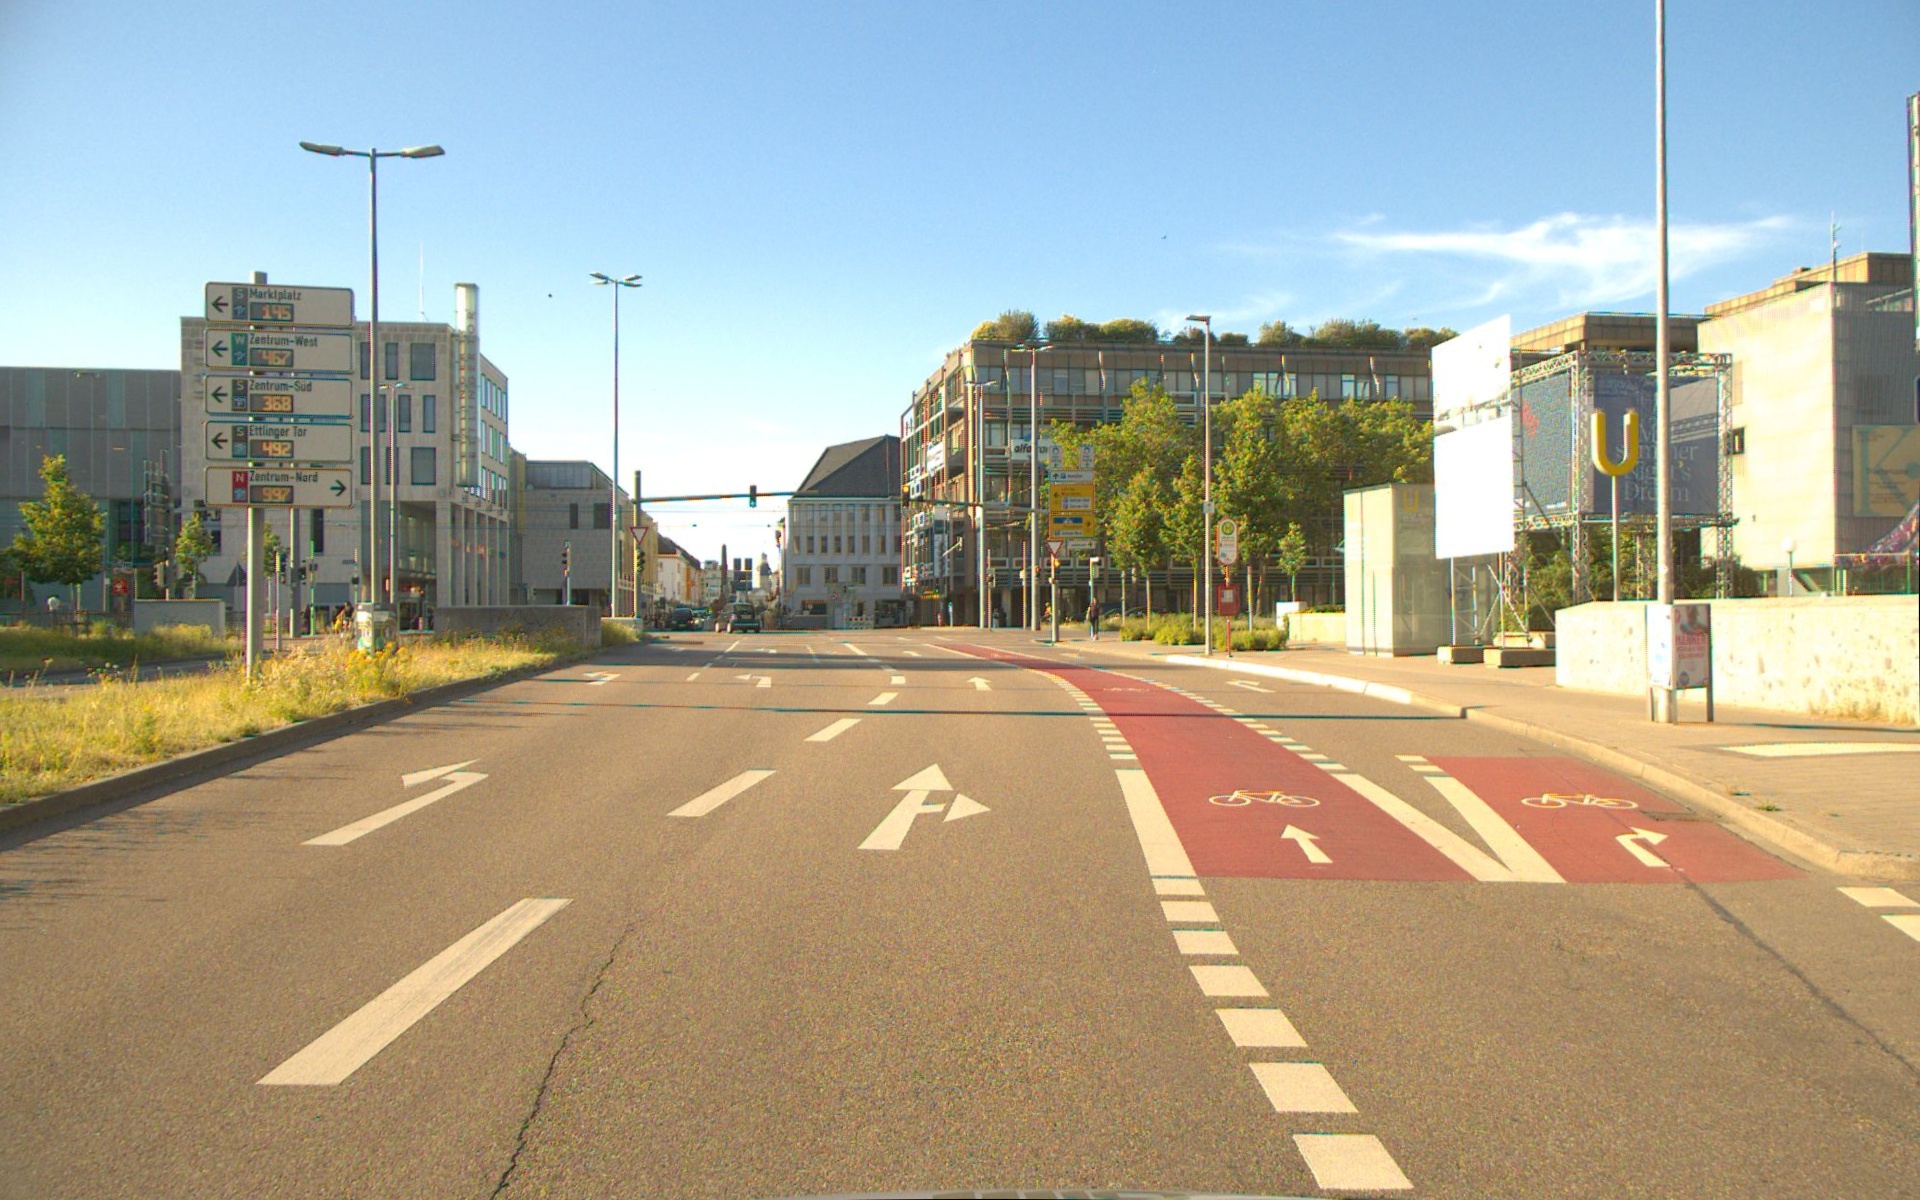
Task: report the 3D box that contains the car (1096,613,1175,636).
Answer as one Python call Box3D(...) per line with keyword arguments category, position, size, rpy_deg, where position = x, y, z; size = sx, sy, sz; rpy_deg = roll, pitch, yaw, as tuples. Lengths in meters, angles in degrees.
Box3D(category="car", position=(11.005, 1.536, 103.791), size=(4.546, 1.380, 1.996), rpy_deg=(0, 1, -10))

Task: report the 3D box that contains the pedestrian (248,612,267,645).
Box3D(category="pedestrian", position=(-32.795, 1.321, 77.201), size=(0.710, 1.528, 0.800), rpy_deg=(0, -1, -15))

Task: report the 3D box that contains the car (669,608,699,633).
Box3D(category="car", position=(-20.871, 1.509, 124.996), size=(1.955, 1.773, 4.640), rpy_deg=(0, 1, -6))

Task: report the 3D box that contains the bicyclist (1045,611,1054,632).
Box3D(category="bicyclist", position=(5.621, 1.359, 104.195), size=(0.498, 1.362, 0.452), rpy_deg=(0, -1, -3))

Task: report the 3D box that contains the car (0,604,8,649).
Box3D(category="car", position=(-41.494, 1.111, 67.174), size=(4.561, 1.842, 1.865), rpy_deg=(-1, -2, -14))

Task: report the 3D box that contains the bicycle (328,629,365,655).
Box3D(category="bicycle", position=(-22.051, 1.498, 59.481), size=(0.599, 0.877, 1.950), rpy_deg=(0, 0, -1))

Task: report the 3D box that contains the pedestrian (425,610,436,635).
Box3D(category="pedestrian", position=(-35.620, 1.520, 111.324), size=(0.611, 1.636, 0.652), rpy_deg=(0, -1, -7))

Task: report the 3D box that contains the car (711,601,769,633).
Box3D(category="car", position=(-11.227, 0.862, 84.219), size=(1.756, 1.591, 3.754), rpy_deg=(0, 0, -28))

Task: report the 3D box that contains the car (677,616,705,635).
Box3D(category="car", position=(-21.960, 2.073, 135.092), size=(1.955, 1.380, 4.640), rpy_deg=(0, 1, -6))

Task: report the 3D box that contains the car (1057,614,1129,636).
Box3D(category="car", position=(8.931, 1.692, 111.241), size=(4.546, 1.380, 1.996), rpy_deg=(0, 1, -10))

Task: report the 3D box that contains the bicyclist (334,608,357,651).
Box3D(category="bicyclist", position=(-22.040, 1.045, 59.333), size=(0.595, 1.515, 0.681), rpy_deg=(0, -1, -1))

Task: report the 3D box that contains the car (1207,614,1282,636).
Box3D(category="car", position=(18.875, 1.662, 109.976), size=(4.546, 1.380, 1.996), rpy_deg=(0, 1, -10))

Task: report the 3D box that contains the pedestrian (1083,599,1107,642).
Box3D(category="pedestrian", position=(5.667, 0.854, 69.337), size=(0.804, 1.779, 1.042), rpy_deg=(-2, -1, 16))

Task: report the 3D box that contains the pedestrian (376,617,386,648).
Box3D(category="pedestrian", position=(-39.124, 2.193, 111.723), size=(0.612, 2.049, 0.514), rpy_deg=(0, -1, -15))

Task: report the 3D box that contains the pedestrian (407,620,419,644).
Box3D(category="pedestrian", position=(-36.719, 2.155, 111.081), size=(0.611, 1.636, 0.652), rpy_deg=(0, -1, -7))
